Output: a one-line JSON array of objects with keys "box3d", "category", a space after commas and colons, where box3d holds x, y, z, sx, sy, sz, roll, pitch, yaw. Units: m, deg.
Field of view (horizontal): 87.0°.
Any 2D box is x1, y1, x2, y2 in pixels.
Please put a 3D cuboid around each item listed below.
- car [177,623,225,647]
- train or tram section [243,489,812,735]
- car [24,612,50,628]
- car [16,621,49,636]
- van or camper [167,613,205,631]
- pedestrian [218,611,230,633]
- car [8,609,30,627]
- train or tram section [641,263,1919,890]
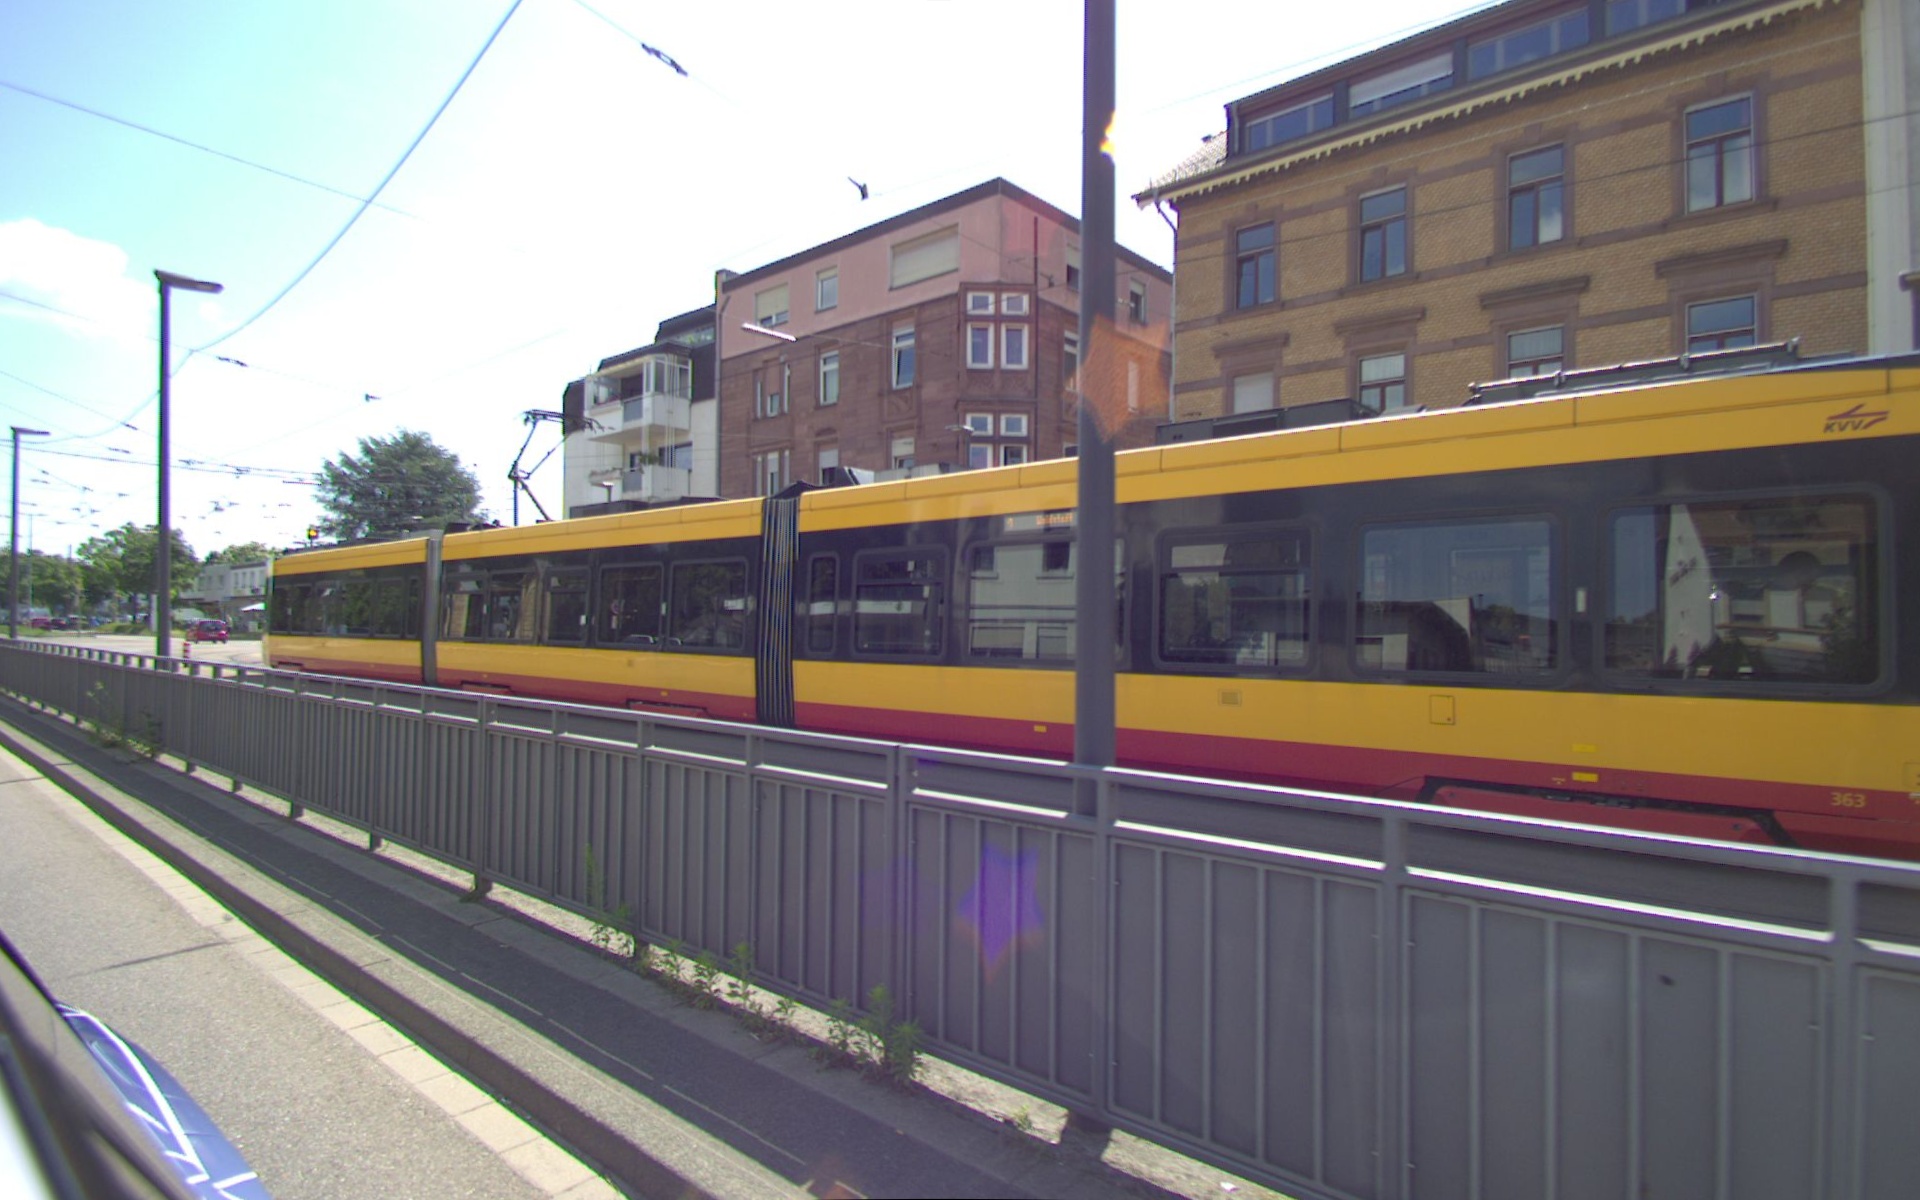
[{"box3d": [-47.180, 2.170, 62.898, 3.852, 1.456, 1.637, -1, -3, 42], "category": "car"}, {"box3d": [-11.275, 0.266, 22.758, 20.492, 3.594, 3.216, 0, -2, 41], "category": "train or tram section"}, {"box3d": [-122.429, 2.671, 134.207, 3.997, 1.980, 1.941, -1, -2, 40], "category": "car"}, {"box3d": [-93.774, 2.872, 102.275, 4.820, 1.461, 1.972, -1, -3, 42], "category": "car"}, {"box3d": [-138.262, 3.874, 180.792, 2.246, 3.141, 5.091, -1, -3, 41], "category": "van or camper"}, {"box3d": [-61.253, 1.852, 84.221, 0.679, 1.788, 0.485, 0, 3, 22], "category": "pedestrian"}, {"box3d": [-133.861, 2.565, 143.942, 3.997, 2.608, 1.722, -1, -2, 40], "category": "car"}, {"box3d": [2.570, -0.074, 10.523, 16.342, 3.594, 3.201, 0, -2, 41], "category": "train or tram section"}]
